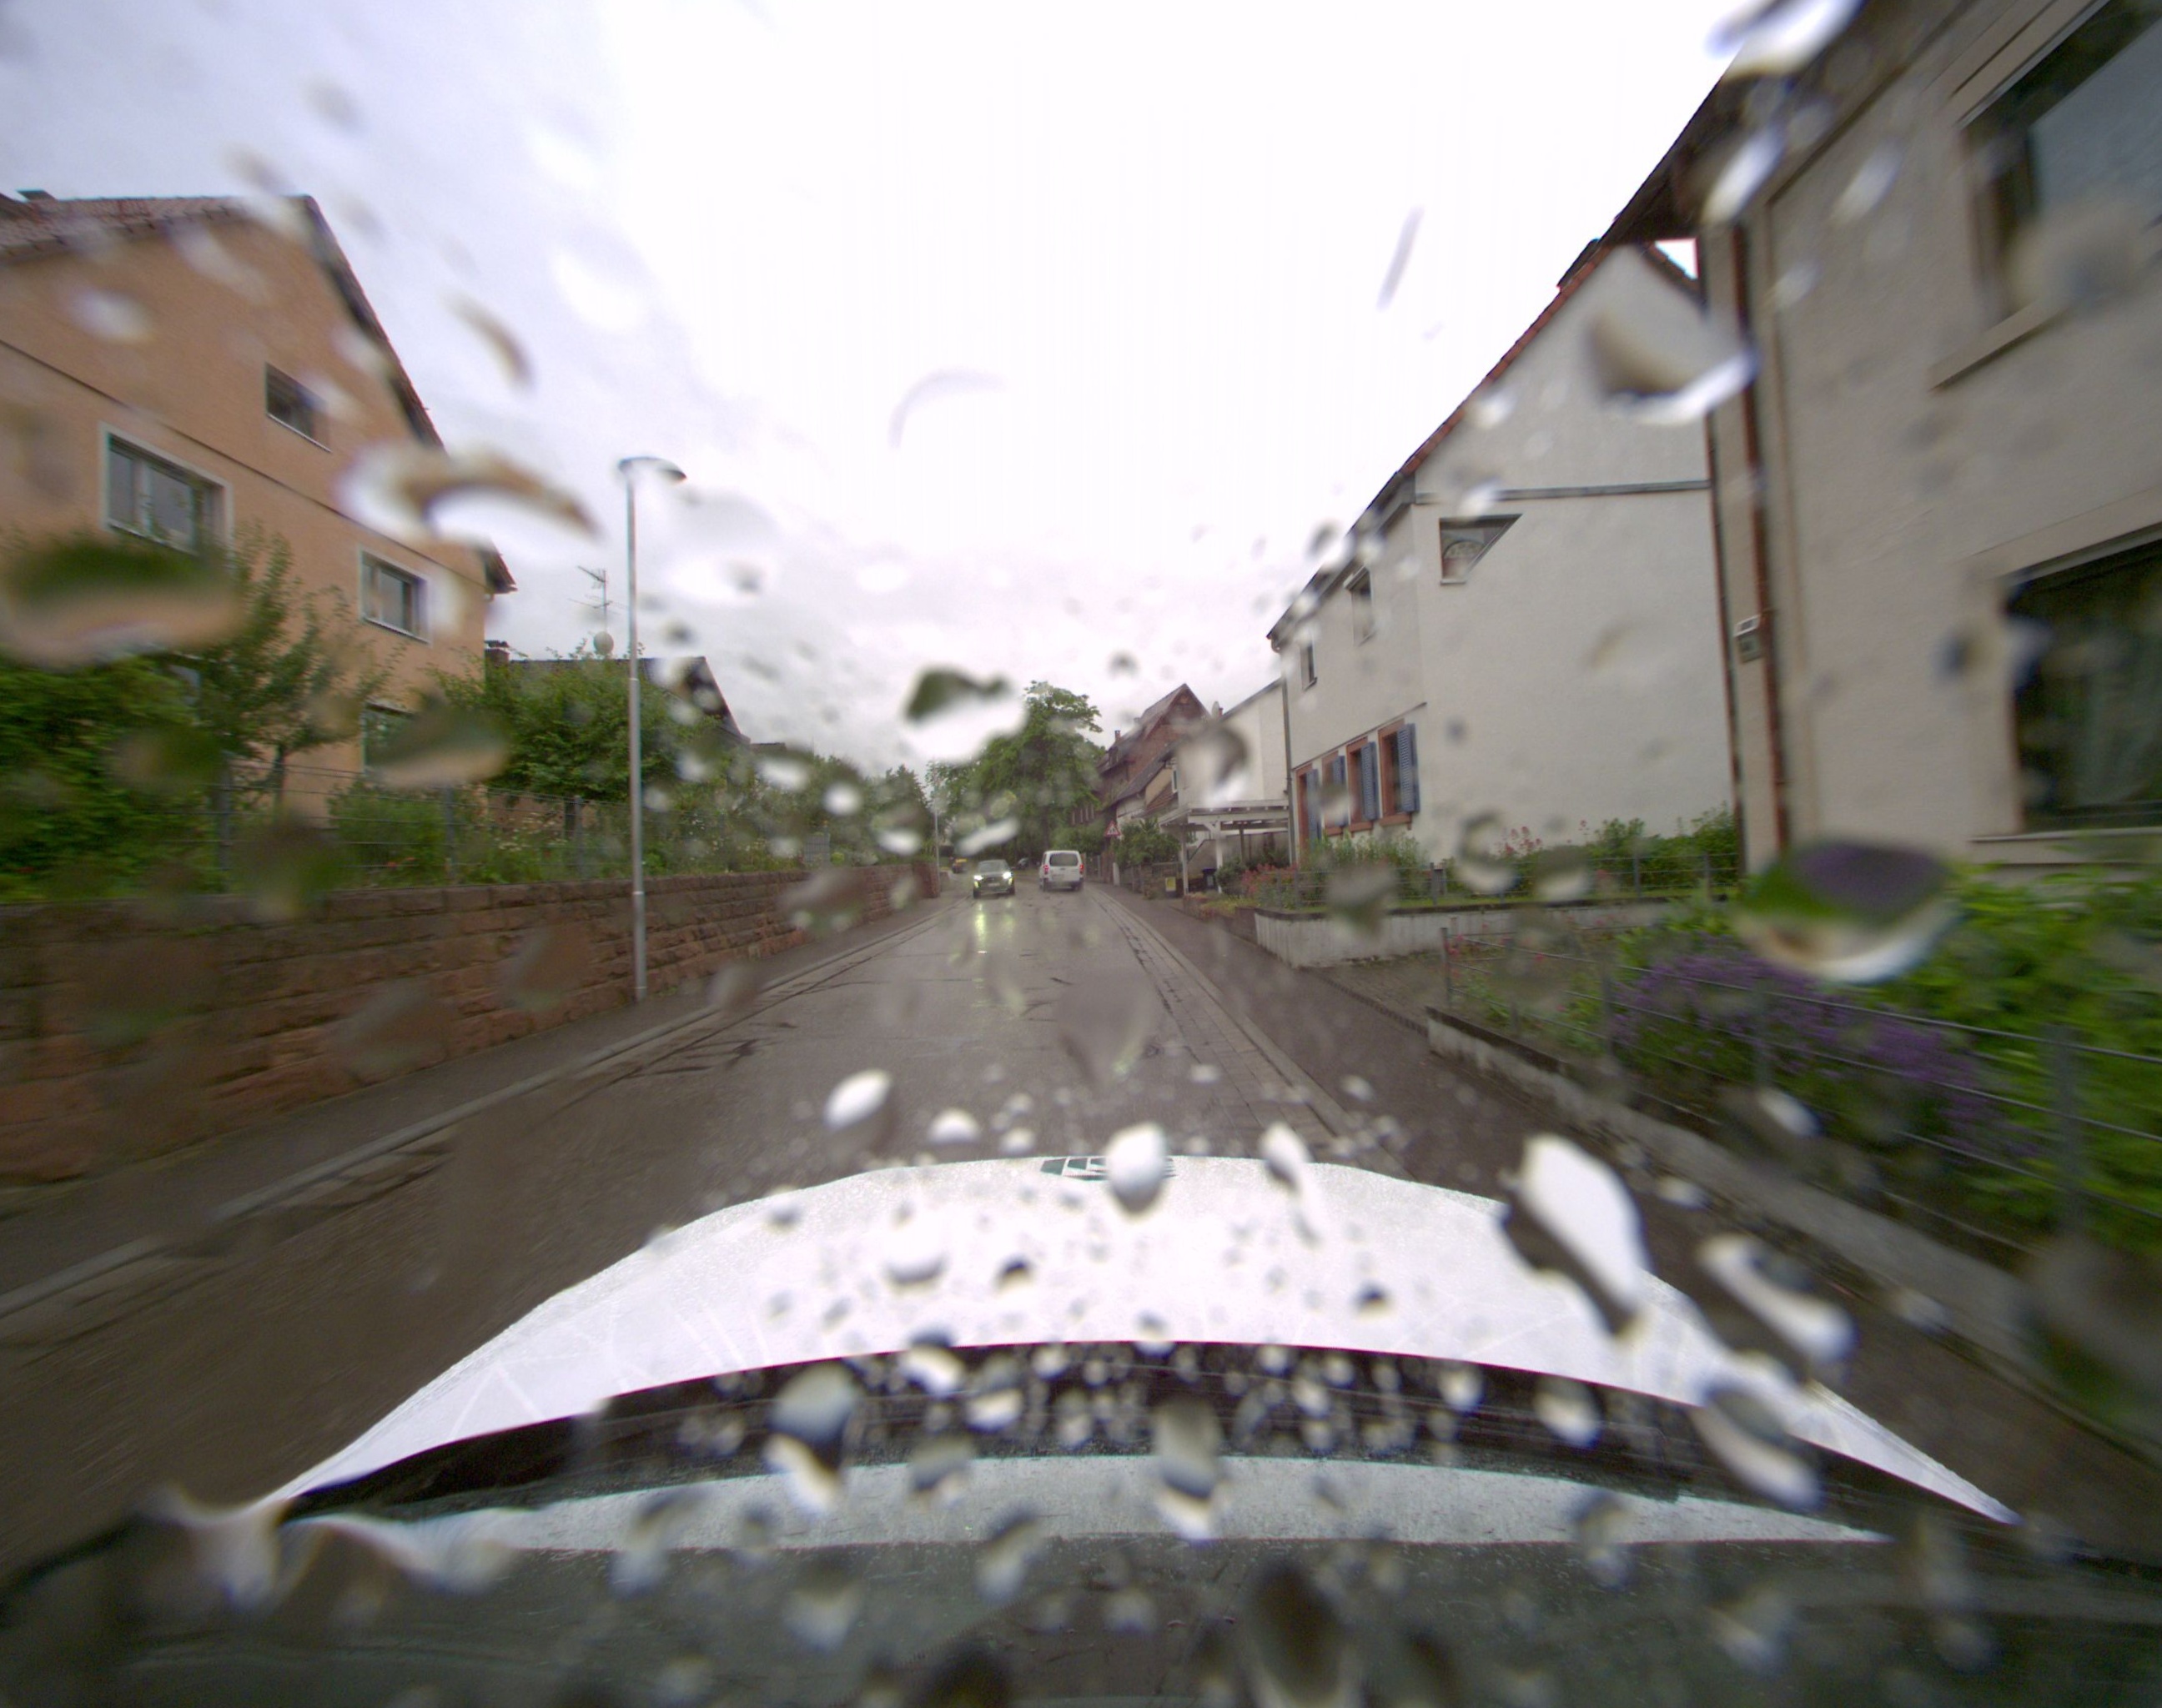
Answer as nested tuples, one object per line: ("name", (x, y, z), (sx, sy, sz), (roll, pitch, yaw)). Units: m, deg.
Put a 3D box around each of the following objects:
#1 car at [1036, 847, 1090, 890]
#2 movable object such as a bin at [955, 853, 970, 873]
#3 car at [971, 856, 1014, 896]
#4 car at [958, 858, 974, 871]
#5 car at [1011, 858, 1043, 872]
("car", (-0.886, 0.635, 37.223), (1.896, 1.807, 3.987), (-2, 0, -9))
("movable object such as a bin", (-15.179, 1.168, 104.203), (1.762, 2.548, 4.223), (0, -1, -11))
("car", (-3.824, 0.932, 35.570), (1.697, 1.546, 3.843), (-4, 0, -5))
("car", (-13.172, 1.215, 93.334), (1.709, 1.378, 3.985), (0, -1, -10))
("car", (-6.291, 1.331, 95.621), (1.601, 1.551, 3.636), (-3, -2, 40))
